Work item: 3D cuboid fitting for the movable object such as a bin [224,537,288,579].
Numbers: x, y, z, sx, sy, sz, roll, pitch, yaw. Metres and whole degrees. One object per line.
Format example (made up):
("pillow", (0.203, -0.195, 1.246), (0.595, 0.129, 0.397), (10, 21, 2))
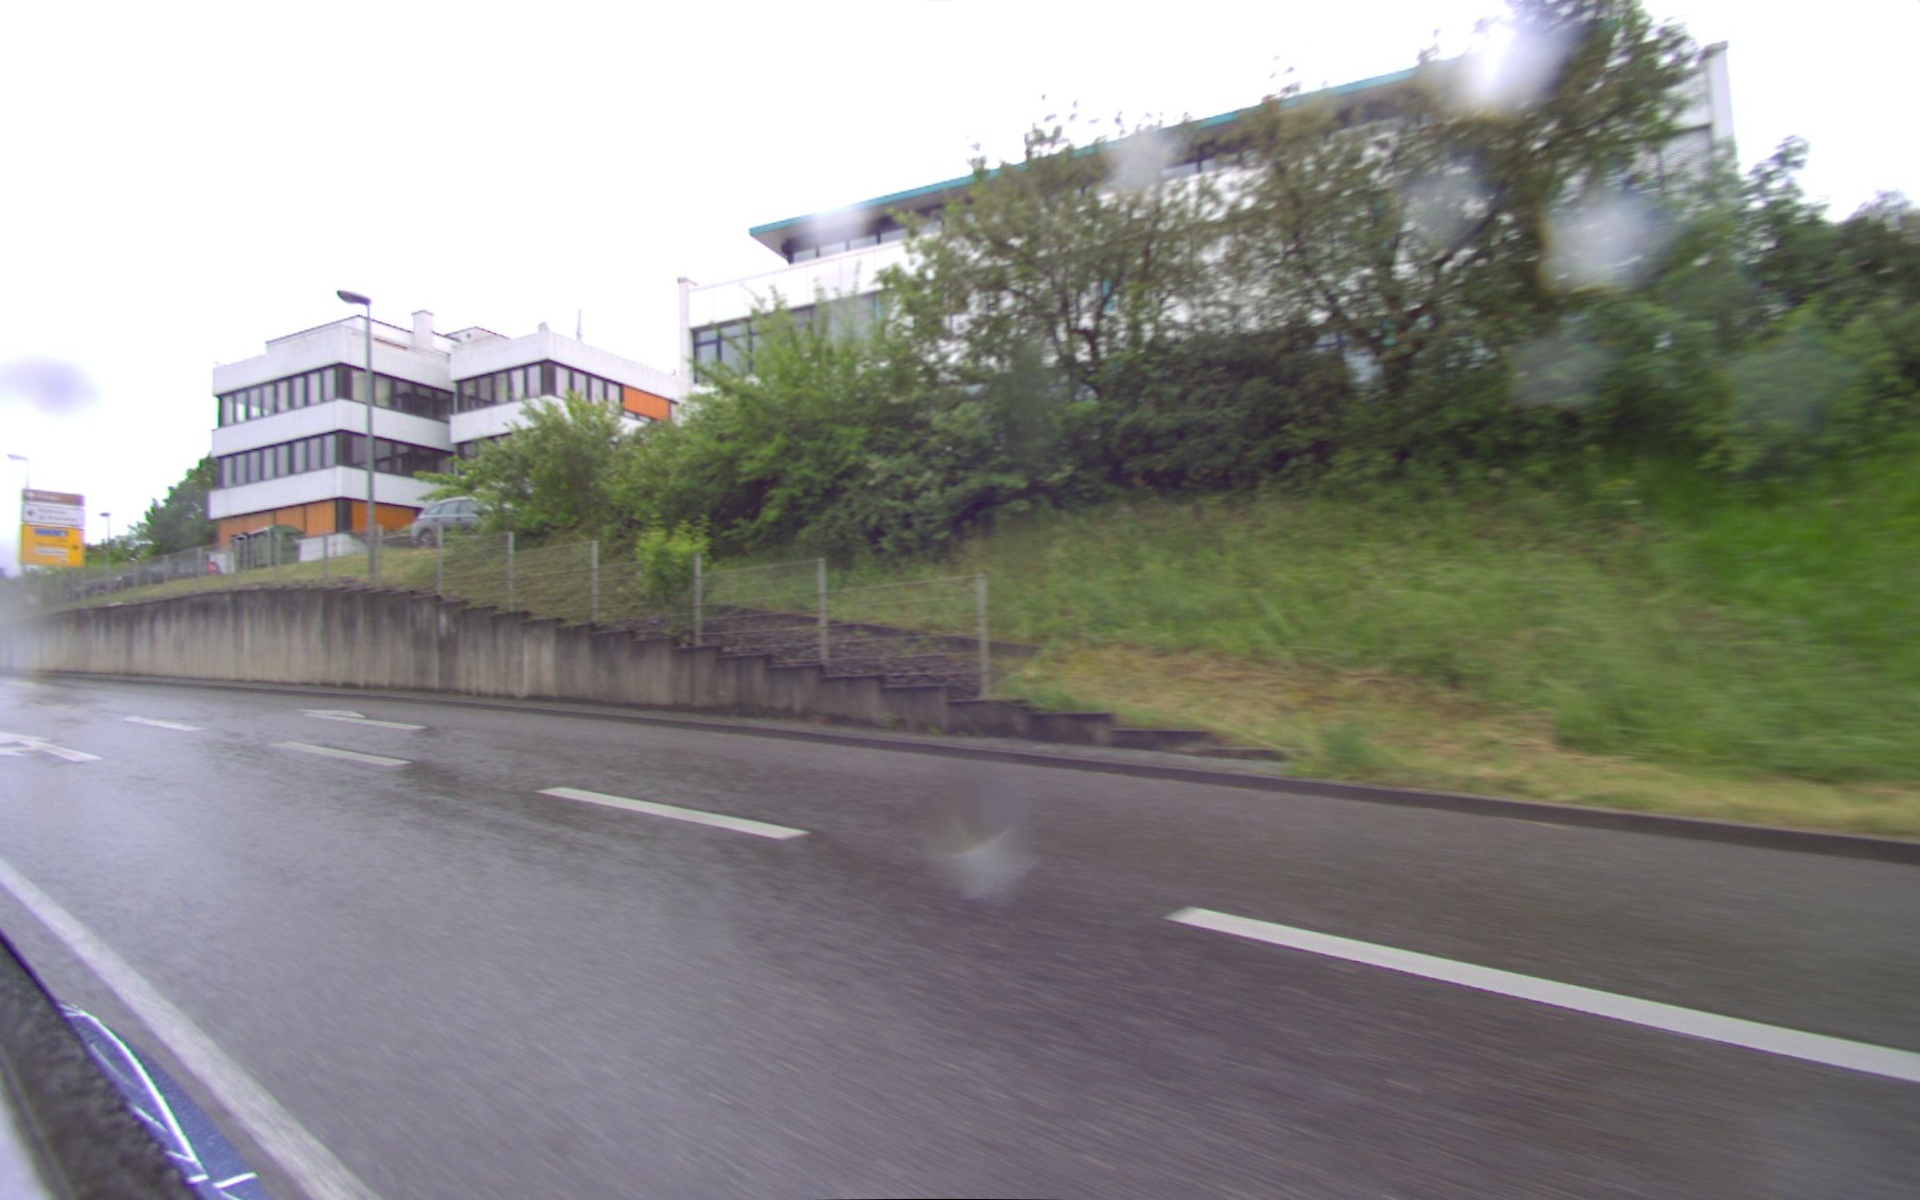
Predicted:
("movable object such as a bin", (-22.109, -1.303, 31.773), (1.339, 1.221, 1.231), (-1, -2, 33))

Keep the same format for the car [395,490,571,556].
("car", (-12.367, -1.924, 26.193), (4.515, 1.353, 1.900), (0, -1, 30))

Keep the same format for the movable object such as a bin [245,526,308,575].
("movable object such as a bin", (-20.958, -1.499, 31.041), (1.214, 1.357, 1.230), (-1, -2, 34))
